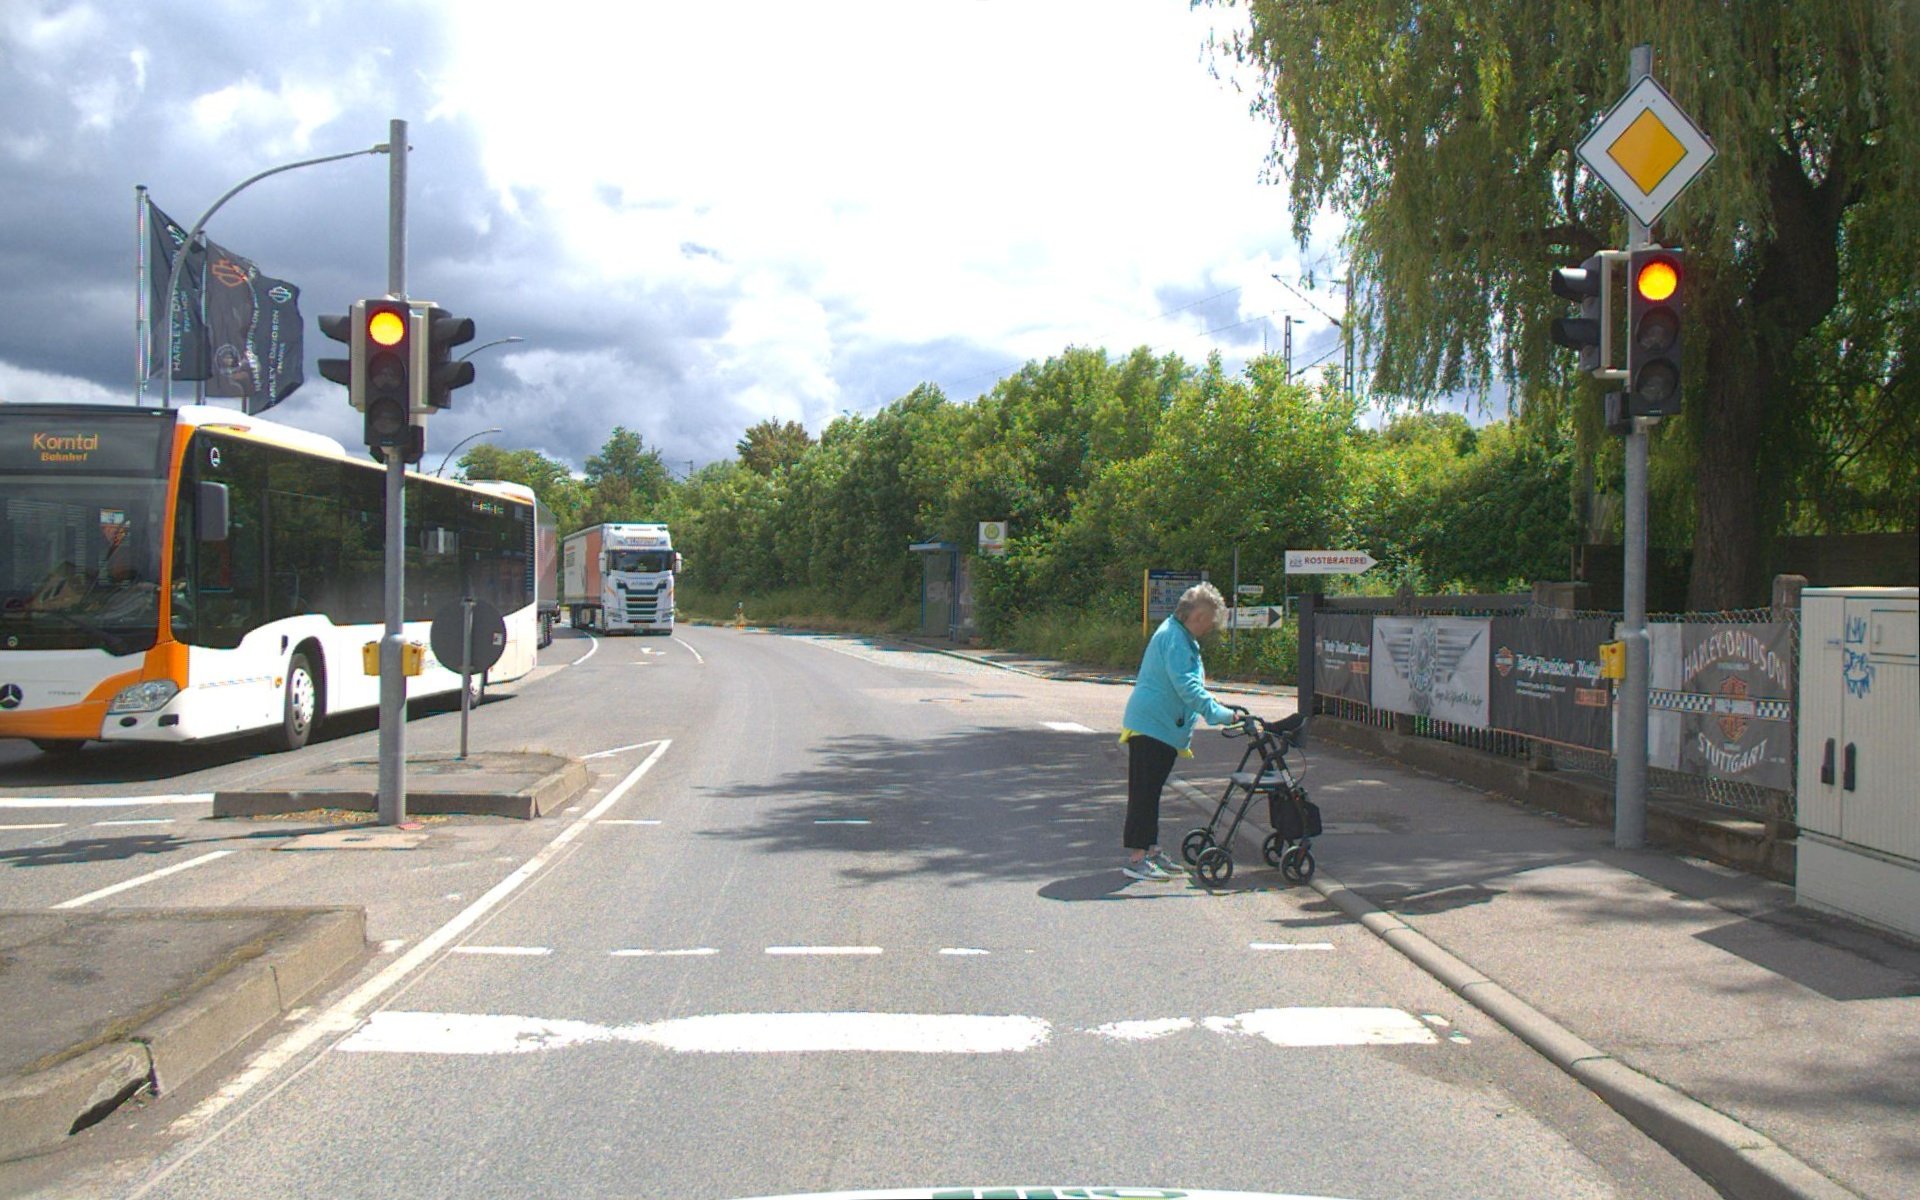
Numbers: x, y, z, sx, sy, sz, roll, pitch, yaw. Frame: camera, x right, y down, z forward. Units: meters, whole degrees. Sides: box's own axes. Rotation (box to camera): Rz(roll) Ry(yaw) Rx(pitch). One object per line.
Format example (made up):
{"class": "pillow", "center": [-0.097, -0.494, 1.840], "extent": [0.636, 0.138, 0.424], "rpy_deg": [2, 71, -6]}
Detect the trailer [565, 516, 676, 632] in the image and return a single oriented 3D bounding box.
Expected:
{"class": "trailer", "center": [-14.231, -0.969, 68.216], "extent": [2.728, 4.217, 15.270], "rpy_deg": [1, 0, -18]}

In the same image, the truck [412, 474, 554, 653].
{"class": "truck", "center": [-11.979, -0.840, 42.018], "extent": [2.748, 4.124, 6.484], "rpy_deg": [1, 0, -10]}

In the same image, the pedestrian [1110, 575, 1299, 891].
{"class": "pedestrian", "center": [1.259, 0.669, 8.641], "extent": [0.822, 1.570, 0.733], "rpy_deg": [1, -1, -4]}

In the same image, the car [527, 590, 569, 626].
{"class": "car", "center": [-20.440, 0.391, 81.968], "extent": [1.961, 1.736, 3.984], "rpy_deg": [1, 0, -15]}

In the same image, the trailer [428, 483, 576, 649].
{"class": "trailer", "center": [-13.267, -0.832, 49.194], "extent": [2.748, 4.124, 15.517], "rpy_deg": [1, 0, -10]}

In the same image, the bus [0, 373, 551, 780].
{"class": "bus", "center": [-7.391, -0.156, 18.681], "extent": [2.663, 3.084, 12.263], "rpy_deg": [0, 0, -1]}

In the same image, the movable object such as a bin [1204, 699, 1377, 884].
{"class": "movable object such as a bin", "center": [1.716, 0.985, 8.665], "extent": [0.731, 0.887, 0.670], "rpy_deg": [1, 0, -4]}

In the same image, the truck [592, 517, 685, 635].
{"class": "truck", "center": [-12.025, -0.849, 61.562], "extent": [2.729, 4.191, 4.960], "rpy_deg": [1, 0, -18]}
